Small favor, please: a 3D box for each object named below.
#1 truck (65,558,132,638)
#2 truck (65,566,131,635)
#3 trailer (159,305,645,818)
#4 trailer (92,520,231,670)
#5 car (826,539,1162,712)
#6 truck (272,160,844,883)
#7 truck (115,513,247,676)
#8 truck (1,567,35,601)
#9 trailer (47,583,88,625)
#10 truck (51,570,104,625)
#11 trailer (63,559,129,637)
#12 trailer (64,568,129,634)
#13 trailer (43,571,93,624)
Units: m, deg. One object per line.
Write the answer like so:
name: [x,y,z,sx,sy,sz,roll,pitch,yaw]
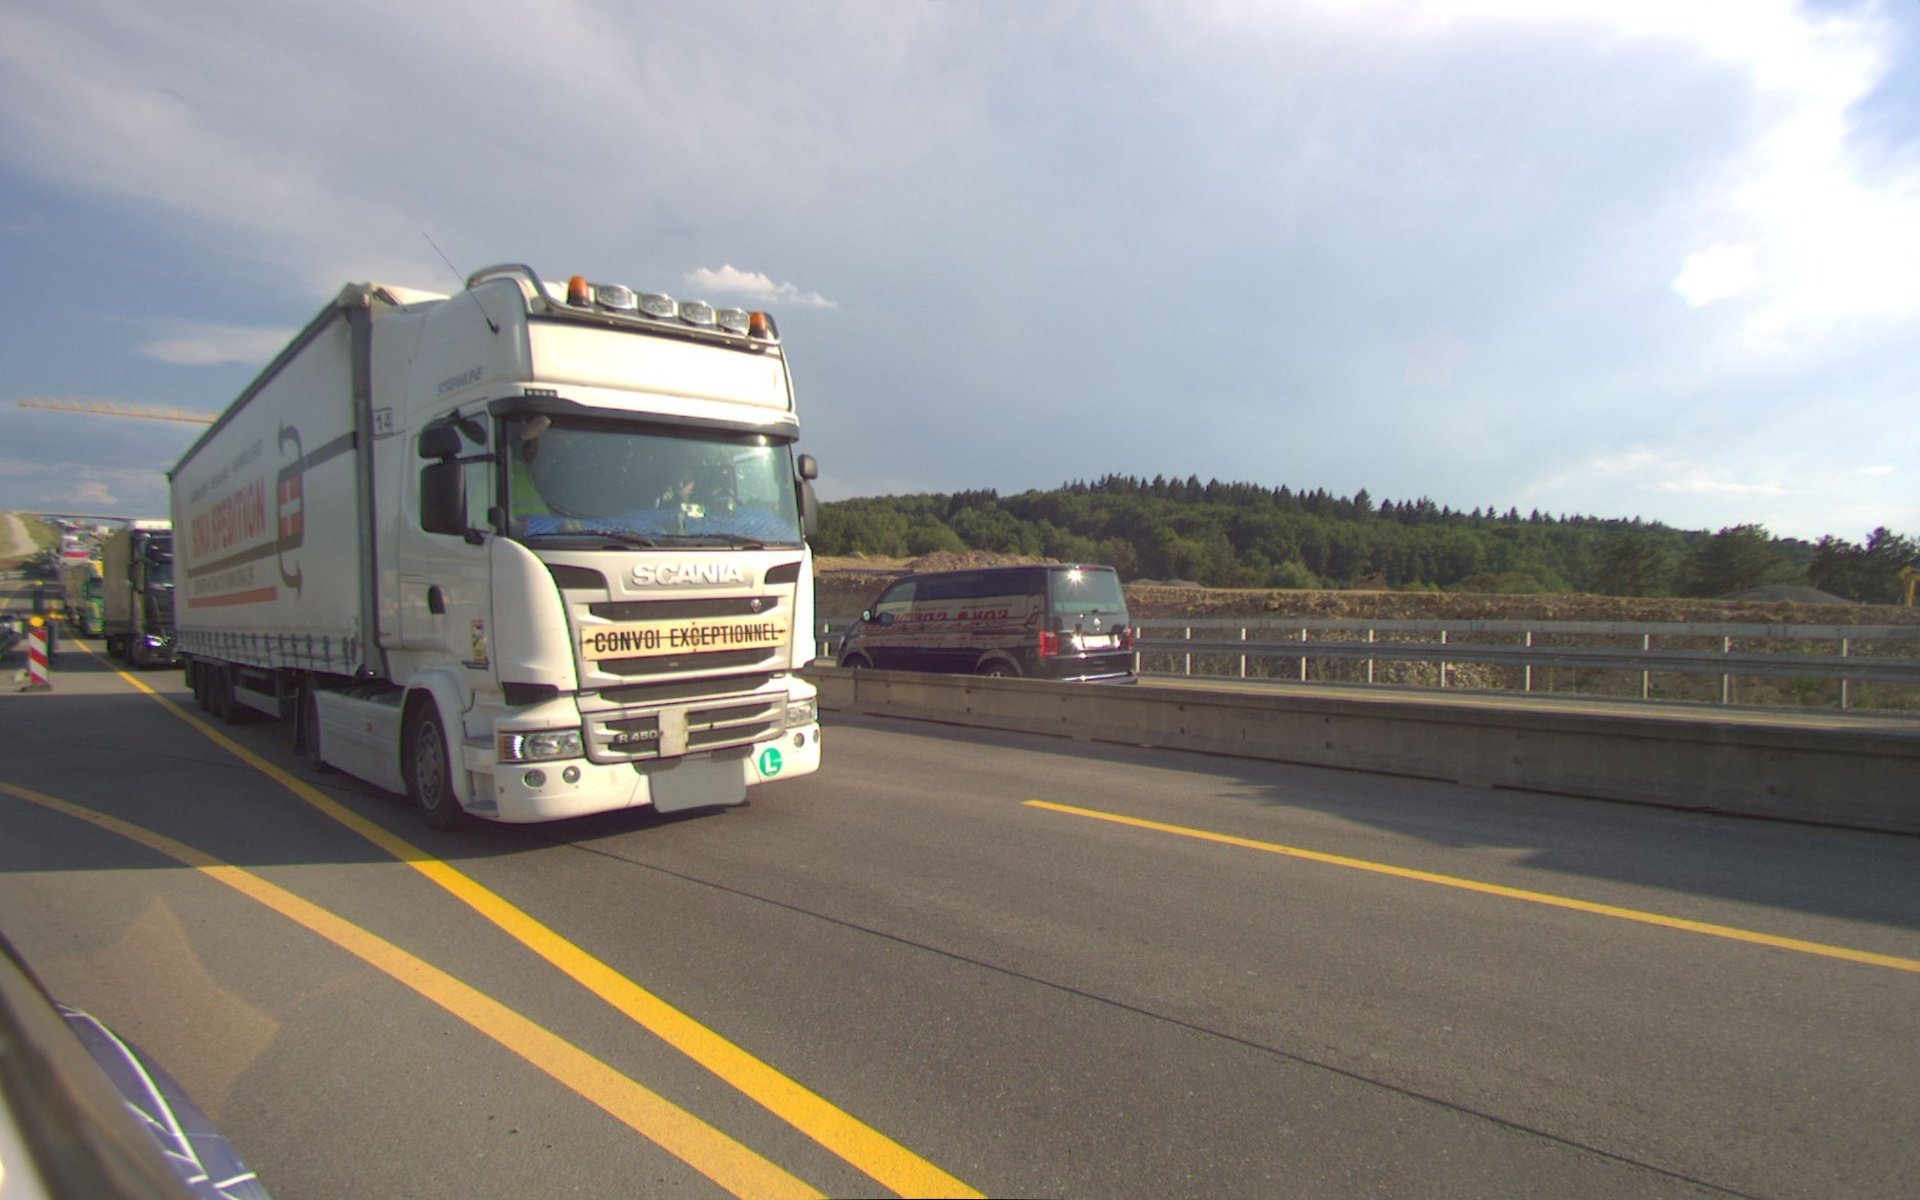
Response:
truck: [-44.984,-0.078,52.784,2.450,3.931,6.018,1,-1,-42]
truck: [-57.833,0.072,67.837,3.066,4.347,6.905,3,-2,-42]
trailer: [-8.464,-0.276,13.548,2.451,3.908,13.645,1,-1,-43]
trailer: [-26.730,-0.113,33.524,2.451,4.092,13.645,1,-1,-43]
car: [0.335,0.332,14.095,4.495,2.029,1.971,0,-2,44]
truck: [-3.763,-0.415,8.517,2.451,3.908,6.018,1,-1,-43]
truck: [-22.084,-0.130,28.561,2.450,4.091,6.019,1,-1,-42]
truck: [-127.466,-2.147,136.994,3.066,4.347,6.905,3,-2,-42]
trailer: [-99.428,0.459,112.691,3.066,4.347,14.270,3,-2,-42]
truck: [-73.932,-0.155,84.749,3.066,4.347,6.905,3,-2,-42]
trailer: [-49.839,-0.079,58.193,2.450,3.988,13.992,1,-1,-42]
trailer: [-62.291,0.120,72.869,3.066,4.347,14.270,3,-2,-42]
trailer: [-80.479,-0.165,91.276,3.066,4.347,14.270,3,-2,-42]
